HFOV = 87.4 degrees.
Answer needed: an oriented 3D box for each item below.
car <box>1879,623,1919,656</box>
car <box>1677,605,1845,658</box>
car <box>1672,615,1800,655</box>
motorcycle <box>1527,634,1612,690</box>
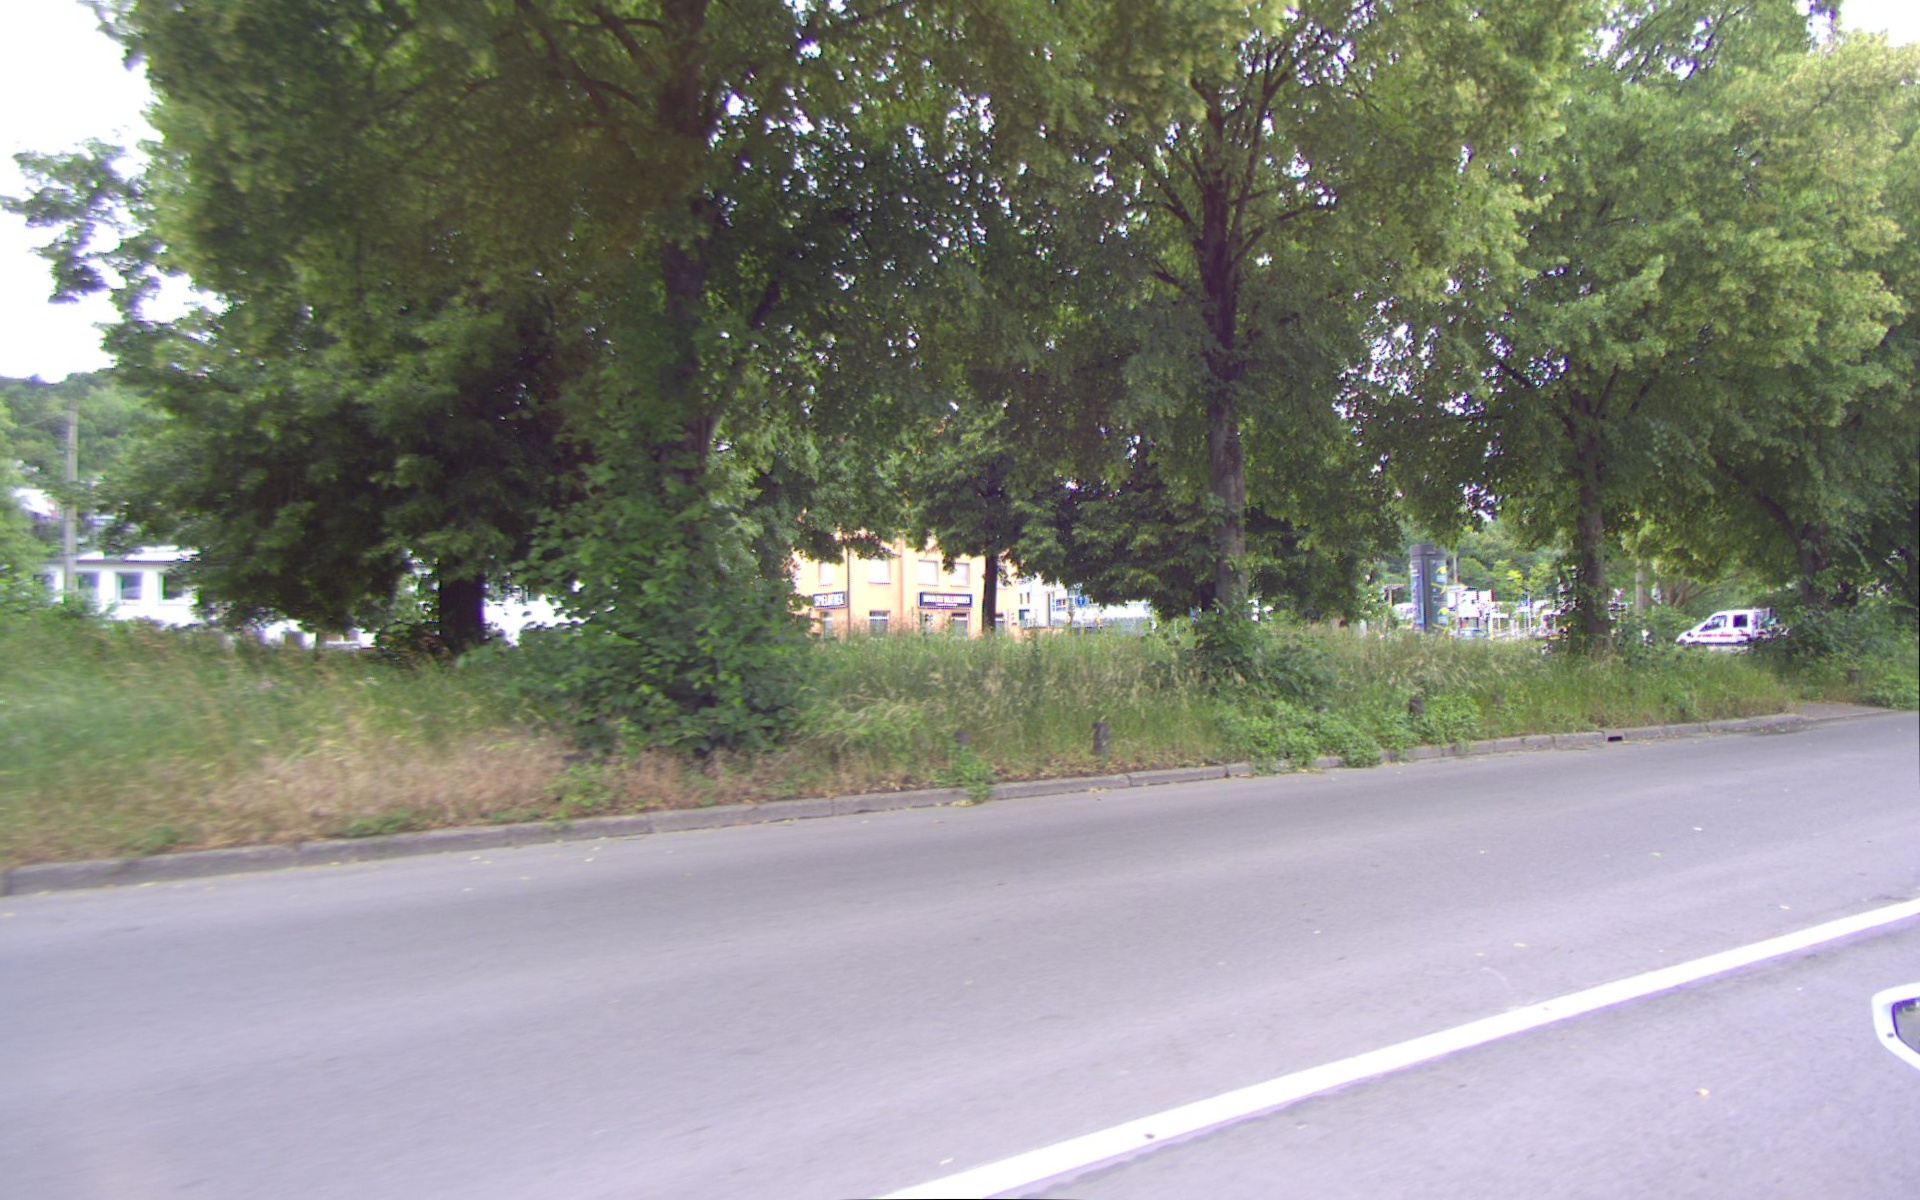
[{"bbox_3d":[43.229,1.729,44.369,3.556,1.427,1.737,-3,-3,33],"label":"car"},{"bbox_3d":[39.475,1.626,49.682,2.370,2.418,6.033,0,-3,-35],"label":"car"},{"bbox_3d":[41.226,1.917,53.519,2.019,1.967,4.968,0,-3,-23],"label":"car"},{"bbox_3d":[13.520,1.363,22.276,2.008,1.183,0.564,0,-3,-26],"label":"motorcycle"}]
